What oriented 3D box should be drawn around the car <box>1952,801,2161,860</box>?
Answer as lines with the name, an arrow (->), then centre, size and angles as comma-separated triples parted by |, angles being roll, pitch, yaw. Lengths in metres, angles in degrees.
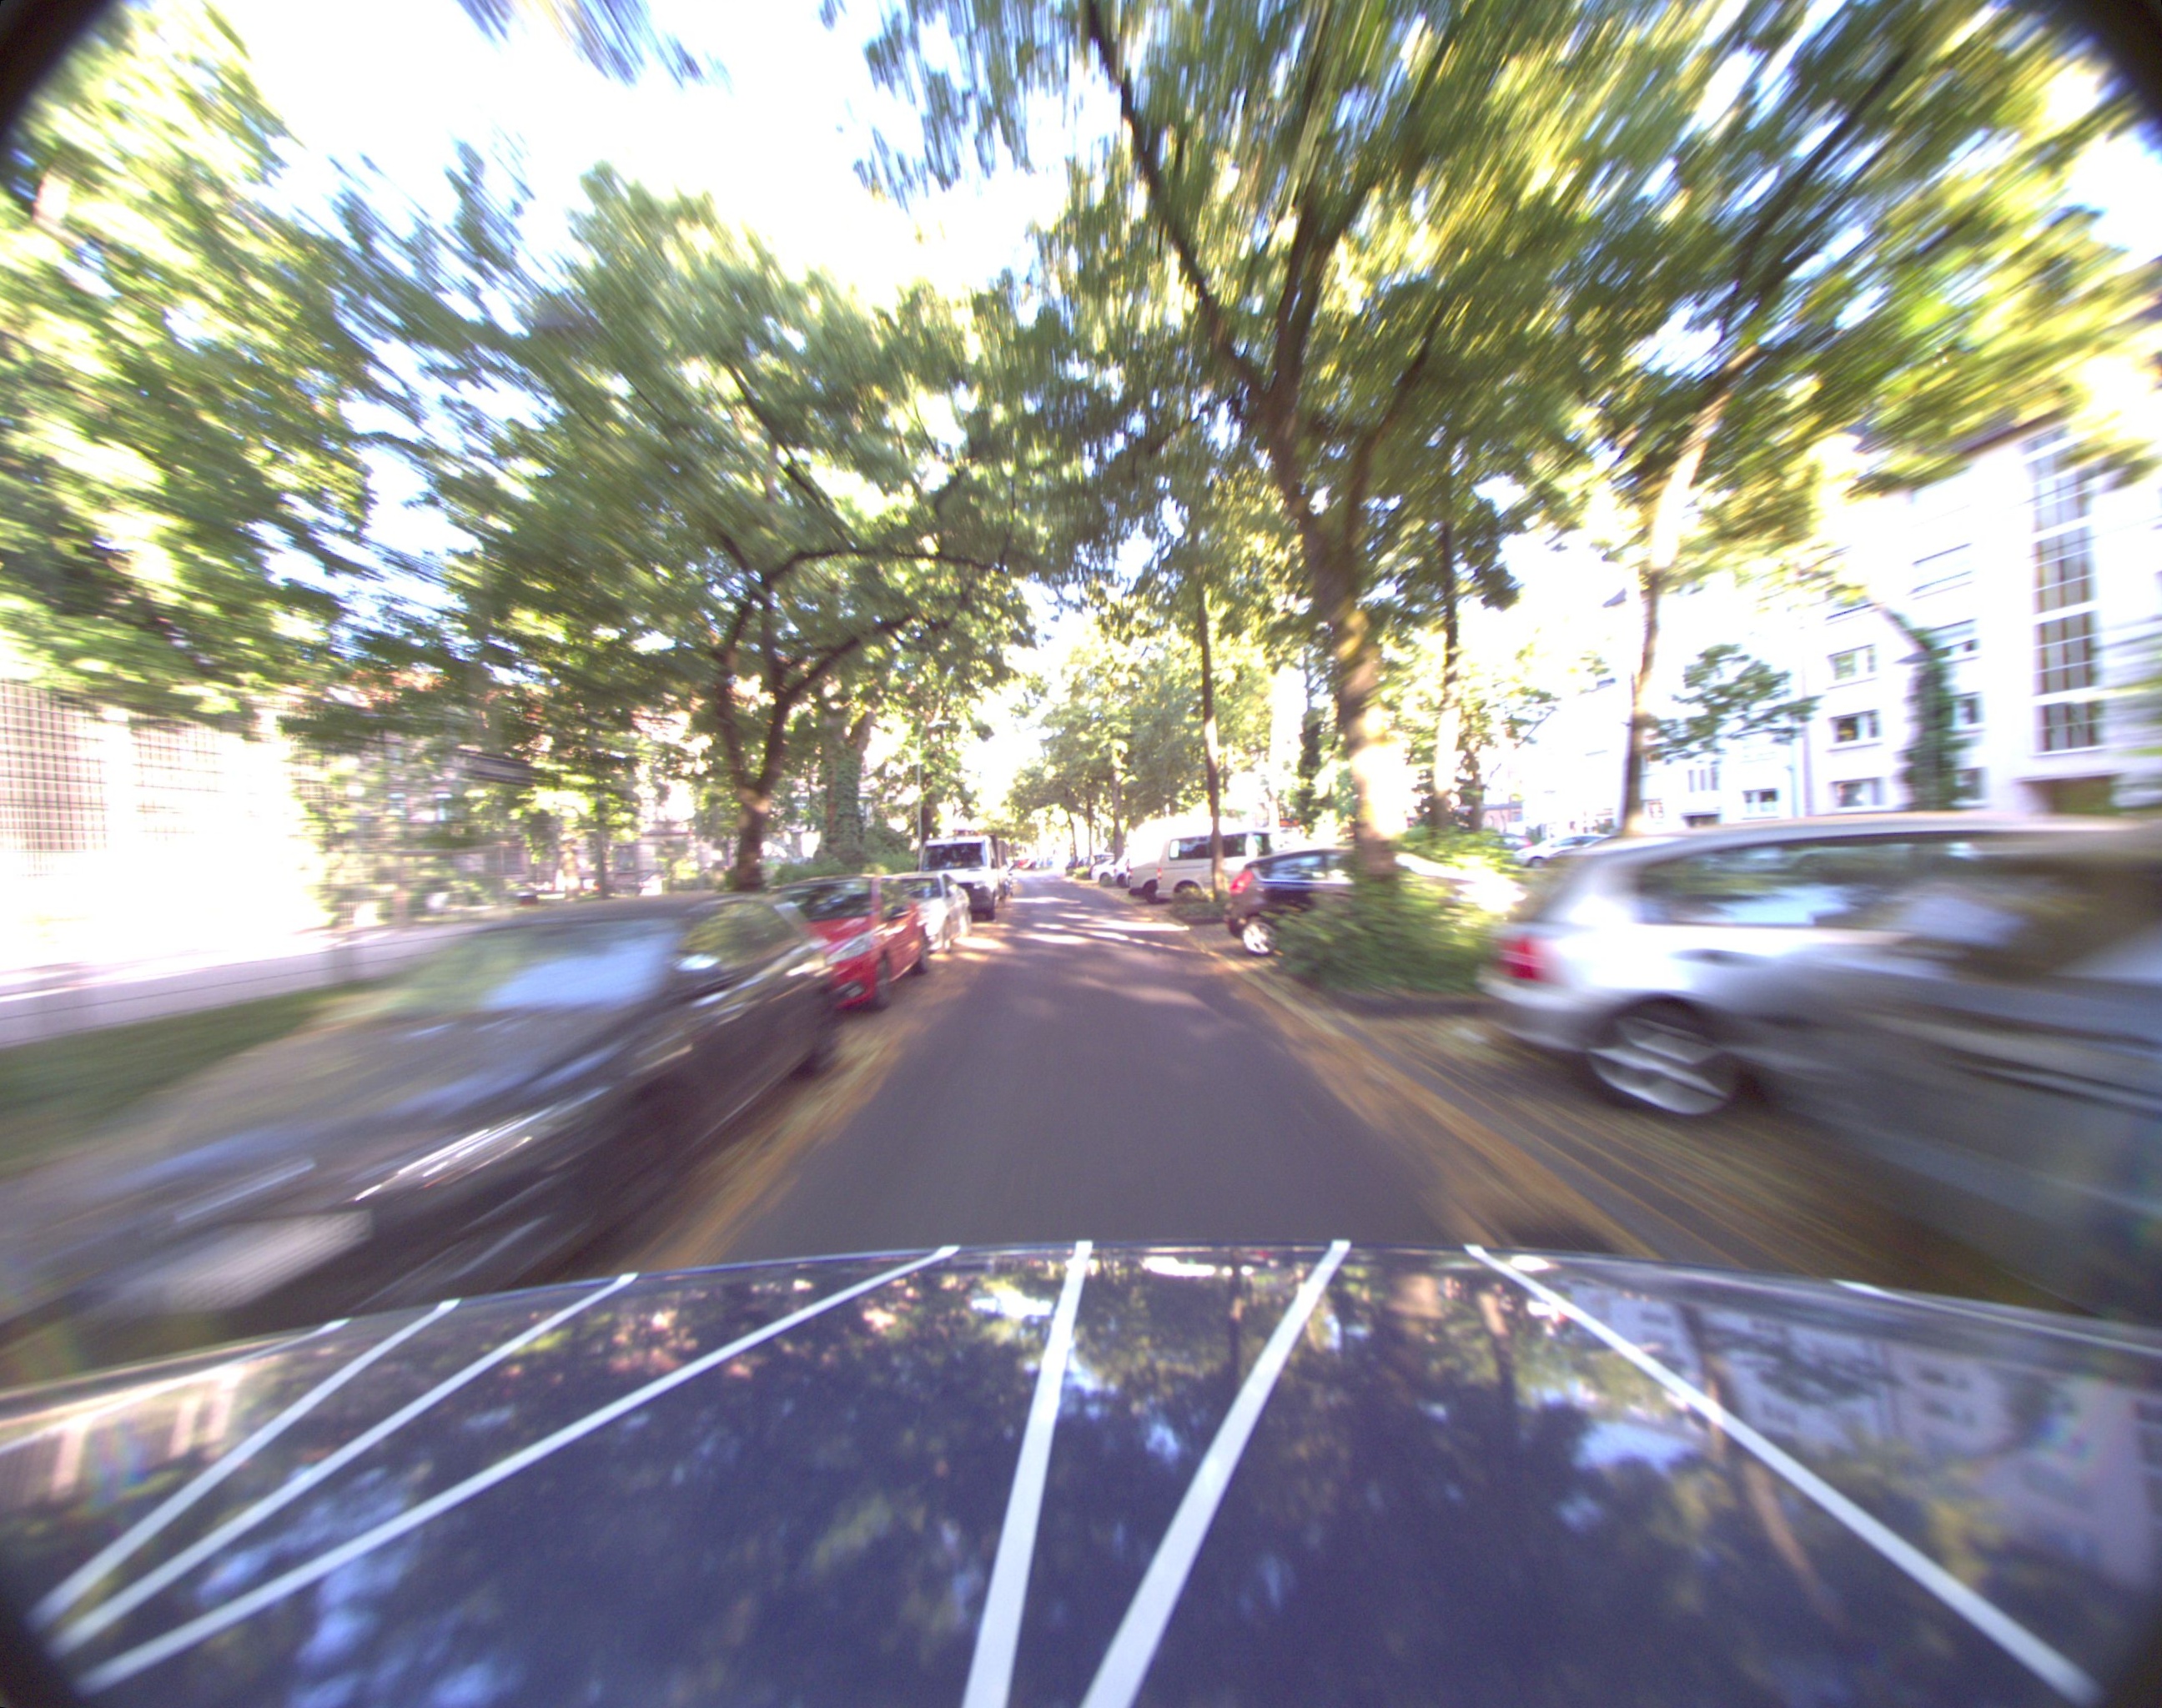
car -> 27.696, -0.612, 21.536 | 1.856, 1.396, 3.508 | -5, 0, -2

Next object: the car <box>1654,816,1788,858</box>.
car -> 27.304, -0.681, 32.665 | 1.856, 1.487, 4.417 | -5, 0, -2

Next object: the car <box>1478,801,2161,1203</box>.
car -> 4.422, 0.594, 3.834 | 4.084, 1.479, 1.786 | -5, 1, 31

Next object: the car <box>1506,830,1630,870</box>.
car -> 19.740, -0.163, 30.996 | 3.991, 1.419, 1.775 | -3, 1, 24

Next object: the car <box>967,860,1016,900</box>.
car -> -3.660, 1.021, 31.603 | 1.677, 1.450, 3.892 | -3, 0, -3

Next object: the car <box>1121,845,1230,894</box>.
car -> 3.576, 0.598, 28.851 | 3.542, 1.485, 1.828 | -5, 1, 29

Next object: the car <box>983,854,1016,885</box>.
car -> -5.030, 0.924, 46.955 | 1.792, 1.698, 4.374 | -3, 0, -6

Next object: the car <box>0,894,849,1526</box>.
car -> -2.697, 1.093, 4.053 | 1.677, 1.445, 3.948 | -3, 0, -1

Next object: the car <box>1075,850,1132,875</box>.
car -> 1.644, 0.626, 55.754 | 3.688, 1.440, 1.636 | -5, 2, 22

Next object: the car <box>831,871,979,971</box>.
car -> -3.072, 1.109, 14.177 | 1.676, 1.389, 4.298 | -3, 0, 0

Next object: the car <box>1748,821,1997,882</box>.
car -> 19.701, -0.031, 19.193 | 3.990, 1.373, 1.807 | -2, 0, 29

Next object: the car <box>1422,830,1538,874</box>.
car -> 19.587, -0.062, 37.360 | 4.806, 2.002, 2.004 | -2, 1, 34

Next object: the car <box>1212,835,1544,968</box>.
car -> 3.996, 0.665, 10.394 | 3.815, 1.430, 1.828 | -5, 1, 34

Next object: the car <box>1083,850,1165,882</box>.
car -> 2.481, 0.696, 43.746 | 4.305, 1.396, 1.746 | -5, 0, 22

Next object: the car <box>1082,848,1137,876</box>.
car -> 1.987, 0.560, 52.853 | 3.346, 1.559, 1.574 | -5, 0, 24

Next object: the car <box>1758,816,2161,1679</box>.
car -> 4.252, 0.592, 1.105 | 4.560, 1.532, 1.937 | -5, 1, 33

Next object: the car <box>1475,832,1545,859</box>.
car -> 26.512, -0.489, 47.119 | 1.856, 1.396, 4.028 | -5, 0, -2

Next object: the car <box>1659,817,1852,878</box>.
car -> 19.686, -0.167, 22.434 | 3.989, 1.638, 1.741 | -2, 0, 31

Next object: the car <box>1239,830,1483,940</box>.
car -> 4.761, 0.536, 12.946 | 3.542, 1.485, 1.828 | -5, 1, 29

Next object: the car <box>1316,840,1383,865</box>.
car -> 17.379, -0.105, 49.197 | 3.873, 1.436, 1.857 | -3, 1, 27

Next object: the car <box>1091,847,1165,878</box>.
car -> 2.872, 0.523, 46.407 | 3.992, 1.503, 1.962 | -5, 0, 20

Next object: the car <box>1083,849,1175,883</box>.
car -> 2.592, 0.663, 41.046 | 4.456, 1.396, 1.859 | -5, 0, 25

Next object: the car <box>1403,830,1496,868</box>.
car -> 19.413, -0.245, 40.169 | 4.309, 1.807, 1.816 | -2, 1, 25

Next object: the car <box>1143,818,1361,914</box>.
car -> 4.322, 0.322, 19.347 | 4.875, 1.966, 2.048 | -5, 1, 29

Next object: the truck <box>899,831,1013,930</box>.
truck -> -3.438, 0.647, 22.427 | 2.302, 2.372, 6.932 | -3, 0, -2

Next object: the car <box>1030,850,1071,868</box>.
car -> -3.595, 0.629, 89.432 | 4.435, 1.613, 1.636 | -6, 2, 16

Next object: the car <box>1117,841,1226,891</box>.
car -> 3.814, 0.501, 31.865 | 4.032, 1.653, 1.859 | -5, 1, 22

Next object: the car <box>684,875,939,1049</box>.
car -> -2.949, 1.093, 9.269 | 1.677, 1.445, 3.948 | -3, 0, -1

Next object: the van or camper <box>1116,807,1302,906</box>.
van or camper -> 3.792, 0.096, 22.637 | 4.875, 2.456, 2.048 | -5, 1, 27

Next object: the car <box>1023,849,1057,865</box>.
car -> -5.538, 0.439, 102.662 | 4.236, 1.658, 1.636 | -6, 2, 16

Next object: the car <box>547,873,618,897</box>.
car -> -34.441, 2.122, 52.511 | 4.007, 1.401, 1.795 | -1, 0, -35

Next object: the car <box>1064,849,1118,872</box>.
car -> 0.829, 0.538, 61.257 | 3.889, 1.440, 1.636 | -5, 2, 22

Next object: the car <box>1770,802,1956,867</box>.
car -> 27.625, -0.609, 27.102 | 1.856, 1.982, 4.417 | -5, 0, -2

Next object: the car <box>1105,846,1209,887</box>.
car -> 3.451, 0.576, 34.596 | 4.235, 1.432, 1.859 | -5, 1, 25
